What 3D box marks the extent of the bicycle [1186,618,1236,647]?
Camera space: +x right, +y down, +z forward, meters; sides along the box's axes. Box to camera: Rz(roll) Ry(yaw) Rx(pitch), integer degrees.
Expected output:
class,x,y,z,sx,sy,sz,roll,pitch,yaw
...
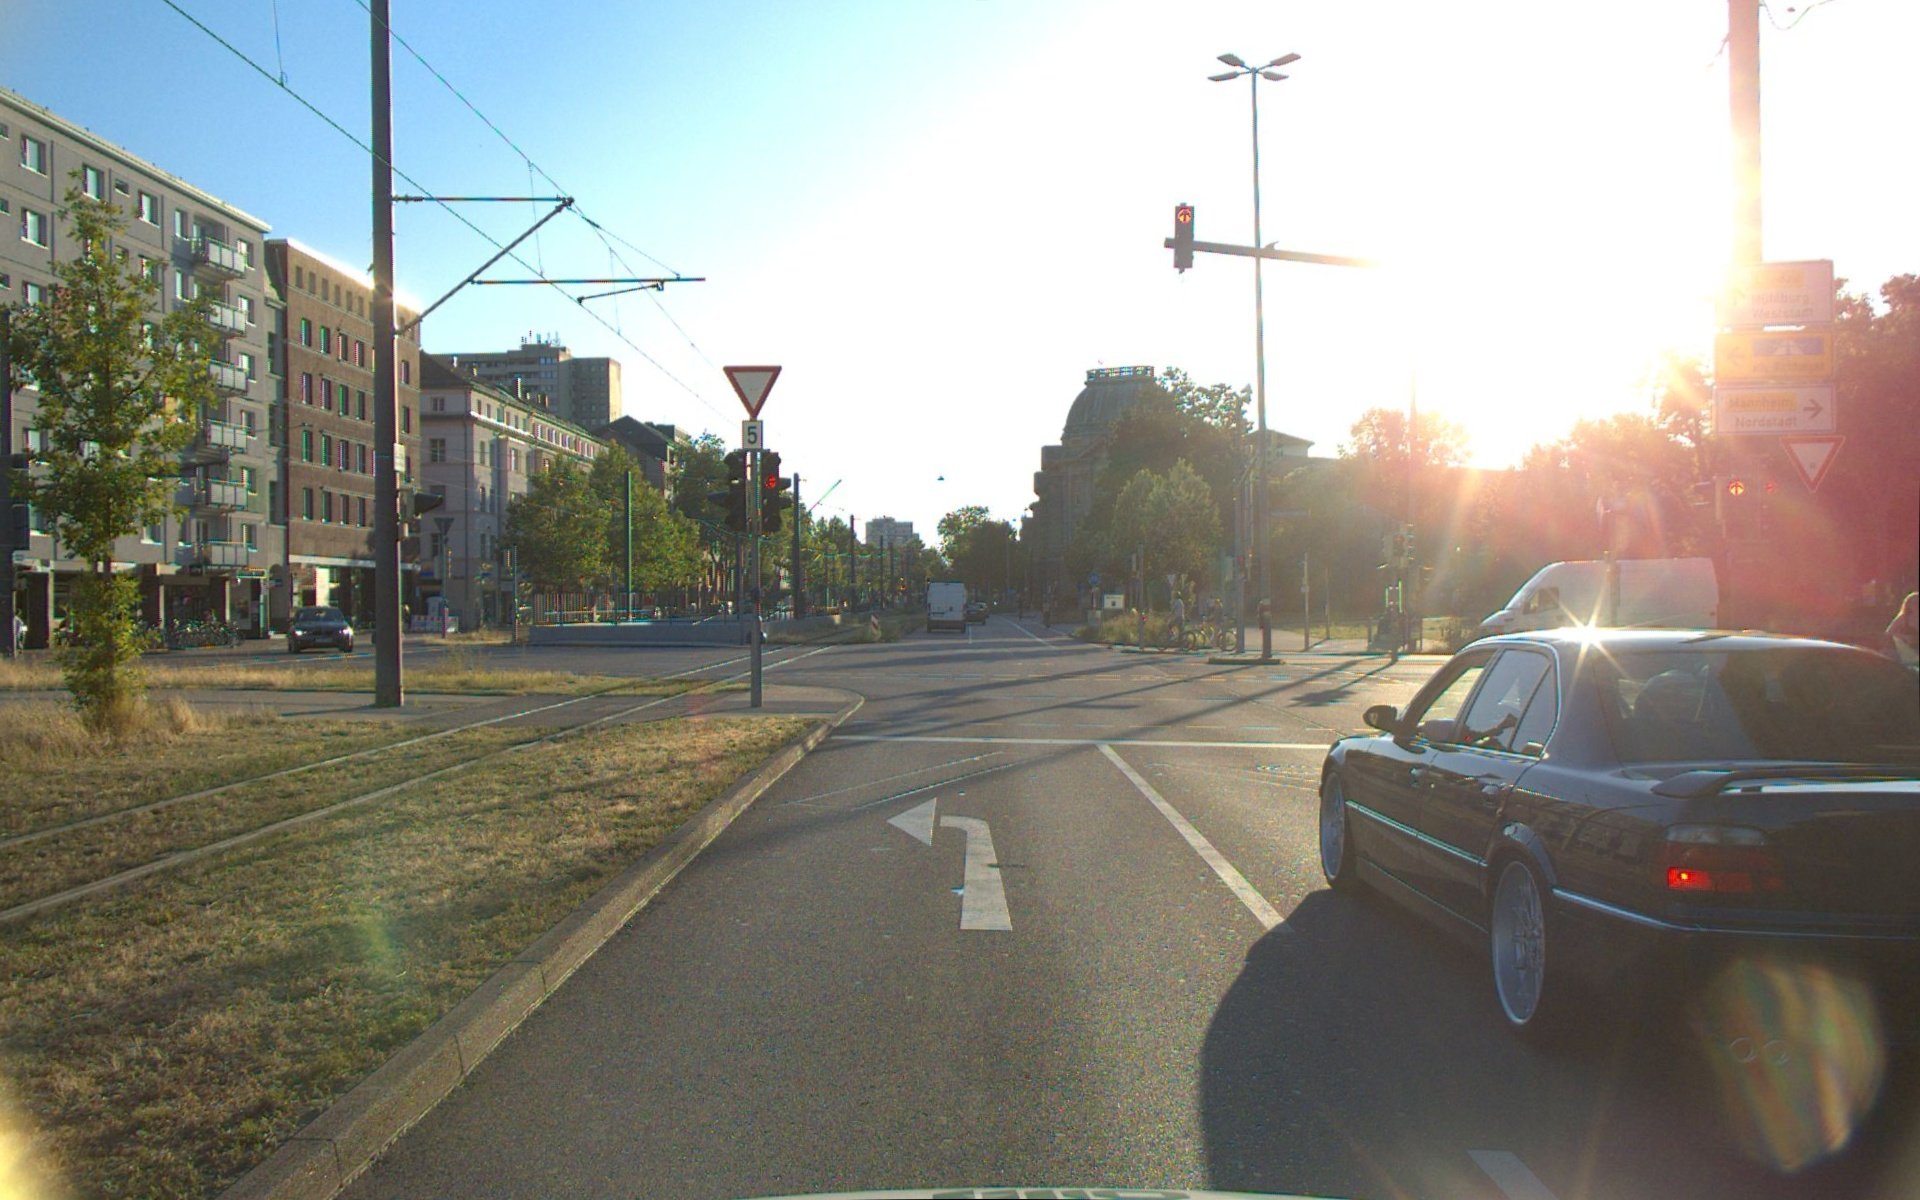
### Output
class,x,y,z,sx,sy,sz,roll,pitch,yaw
bicycle,8.648,1.114,56.984,1.681,0.987,0.610,0,1,9

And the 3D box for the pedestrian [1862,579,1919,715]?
class,x,y,z,sx,sy,sz,roll,pitch,yaw
pedestrian,11.506,0.555,20.066,0.663,1.597,0.800,-1,1,-2

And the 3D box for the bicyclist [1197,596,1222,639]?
class,x,y,z,sx,sy,sz,roll,pitch,yaw
bicyclist,8.608,0.593,56.988,0.835,1.467,0.664,-1,1,9

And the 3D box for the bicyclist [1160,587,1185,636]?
class,x,y,z,sx,sy,sz,roll,pitch,yaw
bicyclist,7.105,0.384,55.290,0.781,1.599,0.663,-1,1,4

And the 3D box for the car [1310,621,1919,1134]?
class,x,y,z,sx,sy,sz,roll,pitch,yaw
car,2.833,0.796,6.872,1.792,1.378,4.641,0,0,0

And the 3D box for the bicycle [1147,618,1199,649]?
class,x,y,z,sx,sy,sz,roll,pitch,yaw
bicycle,7.114,1.120,55.297,1.692,0.987,0.610,0,1,4

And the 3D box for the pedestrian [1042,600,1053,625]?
class,x,y,z,sx,sy,sz,roll,pitch,yaw
pedestrian,5.267,0.753,99.649,0.603,1.501,0.801,-1,1,5

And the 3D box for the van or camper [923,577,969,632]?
class,x,y,z,sx,sy,sz,roll,pitch,yaw
van or camper,-0.676,0.206,85.243,2.216,2.670,4.504,-1,1,1

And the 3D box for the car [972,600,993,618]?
class,x,y,z,sx,sy,sz,roll,pitch,yaw
car,2.239,0.897,162.354,1.758,1.593,3.998,-1,1,-3

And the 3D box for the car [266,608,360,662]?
class,x,y,z,sx,sy,sz,roll,pitch,yaw
car,-20.215,1.061,51.612,1.701,1.459,3.946,0,2,-38

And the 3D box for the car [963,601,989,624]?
class,x,y,z,sx,sy,sz,roll,pitch,yaw
car,1.081,0.818,112.093,1.701,1.410,4.001,-1,1,1

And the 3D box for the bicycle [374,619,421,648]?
class,x,y,z,sx,sy,sz,roll,pitch,yaw
bicycle,-20.686,1.235,60.852,0.687,0.987,1.734,2,1,20

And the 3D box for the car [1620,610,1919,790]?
class,x,y,z,sx,sy,sz,roll,pitch,yaw
car,7.940,0.830,15.561,1.747,1.378,4.266,0,1,0

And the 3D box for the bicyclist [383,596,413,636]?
class,x,y,z,sx,sy,sz,roll,pitch,yaw
bicyclist,-20.677,0.581,60.829,0.647,1.467,0.856,2,1,20

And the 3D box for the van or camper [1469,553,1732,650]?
class,x,y,z,sx,sy,sz,roll,pitch,yaw
van or camper,19.116,0.029,49.692,6.896,2.721,2.599,-1,1,3

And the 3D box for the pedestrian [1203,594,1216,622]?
class,x,y,z,sx,sy,sz,roll,pitch,yaw
pedestrian,14.546,0.466,96.352,0.668,1.639,0.613,-1,1,1
